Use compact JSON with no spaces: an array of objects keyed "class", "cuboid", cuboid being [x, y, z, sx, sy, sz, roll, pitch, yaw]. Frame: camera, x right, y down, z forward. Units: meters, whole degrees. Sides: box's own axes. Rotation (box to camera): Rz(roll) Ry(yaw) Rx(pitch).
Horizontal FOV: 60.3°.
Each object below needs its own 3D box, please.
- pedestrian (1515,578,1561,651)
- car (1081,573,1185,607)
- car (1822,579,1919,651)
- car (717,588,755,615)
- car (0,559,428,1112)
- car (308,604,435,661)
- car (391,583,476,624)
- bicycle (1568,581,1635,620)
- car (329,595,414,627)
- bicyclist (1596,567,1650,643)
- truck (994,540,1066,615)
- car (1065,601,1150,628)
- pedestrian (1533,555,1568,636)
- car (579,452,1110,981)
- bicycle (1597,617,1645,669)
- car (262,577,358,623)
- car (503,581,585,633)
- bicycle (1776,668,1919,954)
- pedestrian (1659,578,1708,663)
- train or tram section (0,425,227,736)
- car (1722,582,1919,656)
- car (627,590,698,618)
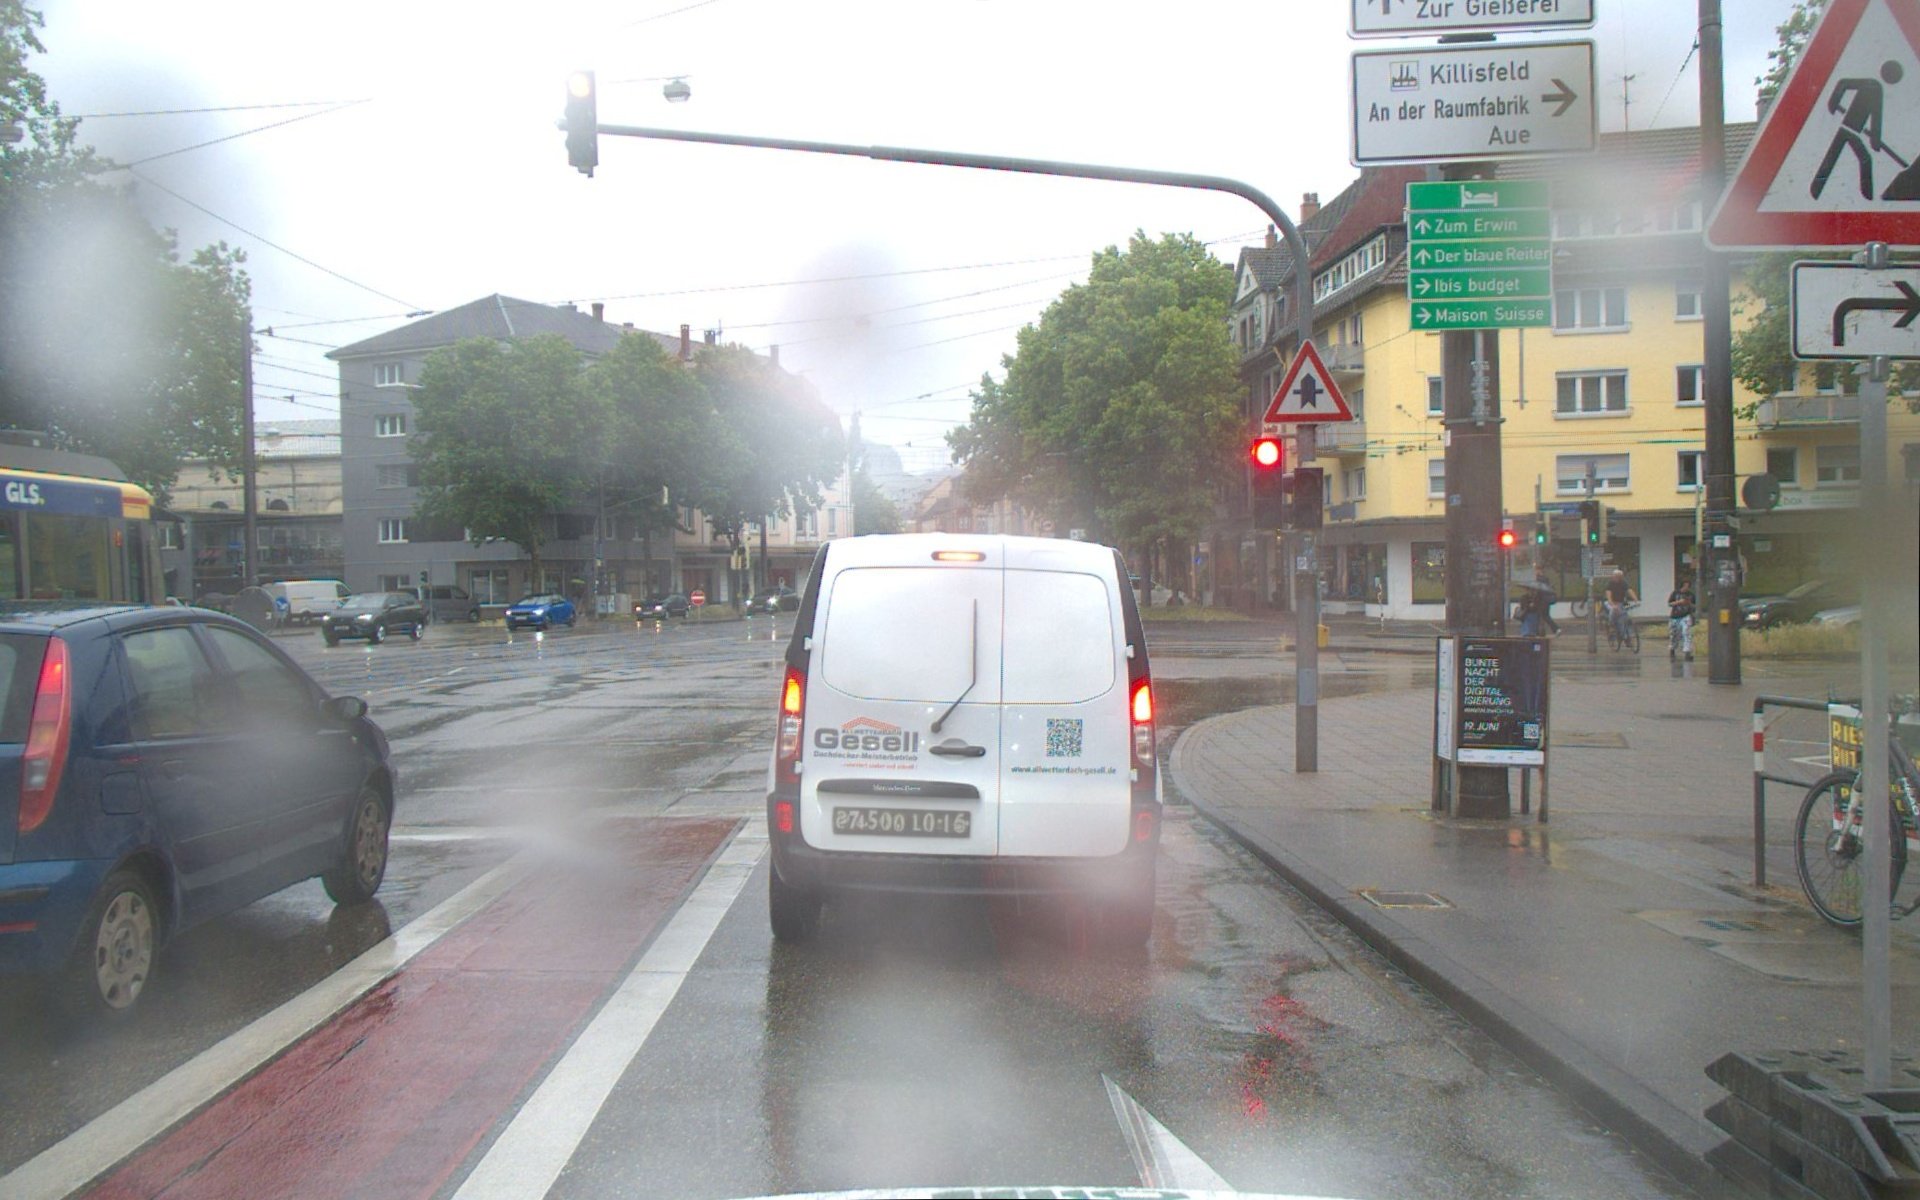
[{"class":"pedestrian","cuboid":[12.563,0.306,35.958,0.809,1.561,0.614,1,0,-39]},{"class":"car","cuboid":[7.227,-0.418,69.048,4.088,1.362,1.518,0,1,-8]},{"class":"car","cuboid":[21.070,0.314,35.907,3.854,1.516,1.808,0,1,15]},{"class":"car","cuboid":[-13.126,0.092,97.035,1.747,1.579,3.999,0,0,-1]},{"class":"car","cuboid":[-3.602,0.676,6.700,1.692,1.606,3.820,0,0,-1]},{"class":"car","cuboid":[-19.103,1.020,53.873,1.909,1.635,4.003,0,2,16]},{"class":"car","cuboid":[-26.798,0.188,84.299,1.954,2.049,3.996,0,0,26]},{"class":"bicycle","cuboid":[21.554,0.006,55.599,2.056,1.283,0.532,0,1,14]},{"class":"car","cuboid":[-30.977,0.546,87.169,1.915,1.522,3.997,0,2,26]},{"class":"bicyclist","cuboid":[14.368,0.106,35.871,0.860,1.611,0.860,0,0,3]},{"class":"truck","cuboid":[5.347,-1.596,122.008,3.395,5.176,15.320,0,0,10]},{"class":"car","cuboid":[6.281,0.613,70.769,3.378,1.150,1.469,0,0,-9]},{"class":"pedestrian","cuboid":[15.239,-0.115,42.693,0.779,2.049,0.860,0,0,24]},{"class":"car","cuboid":[-0.484,0.459,8.921,2.058,2.047,4.962,0,0,-1]},{"class":"bicycle","cuboid":[14.371,0.922,36.016,0.449,1.045,1.903,0,1,5]},{"class":"car","cuboid":[-34.135,-0.036,86.968,1.953,2.236,4.787,1,2,22]},{"class":"car","cuboid":[-17.081,0.271,68.086,1.951,2.049,4.003,0,0,7]},{"class":"bicycle","cuboid":[4.257,0.914,7.088,0.503,1.126,2.017,3,0,1]},{"class":"pedestrian","cuboid":[14.790,0.403,33.794,0.886,1.698,1.019,0,0,25]},{"class":"train or tram section","cuboid":[-12.760,-0.256,15.497,3.466,3.472,15.515,1,0,6]},{"class":"car","cuboid":[20.863,0.464,39.081,4.832,1.672,2.001,0,-2,11]},{"class":"car","cuboid":[-14.775,0.172,82.374,1.909,1.260,4.003,0,2,16]}]
